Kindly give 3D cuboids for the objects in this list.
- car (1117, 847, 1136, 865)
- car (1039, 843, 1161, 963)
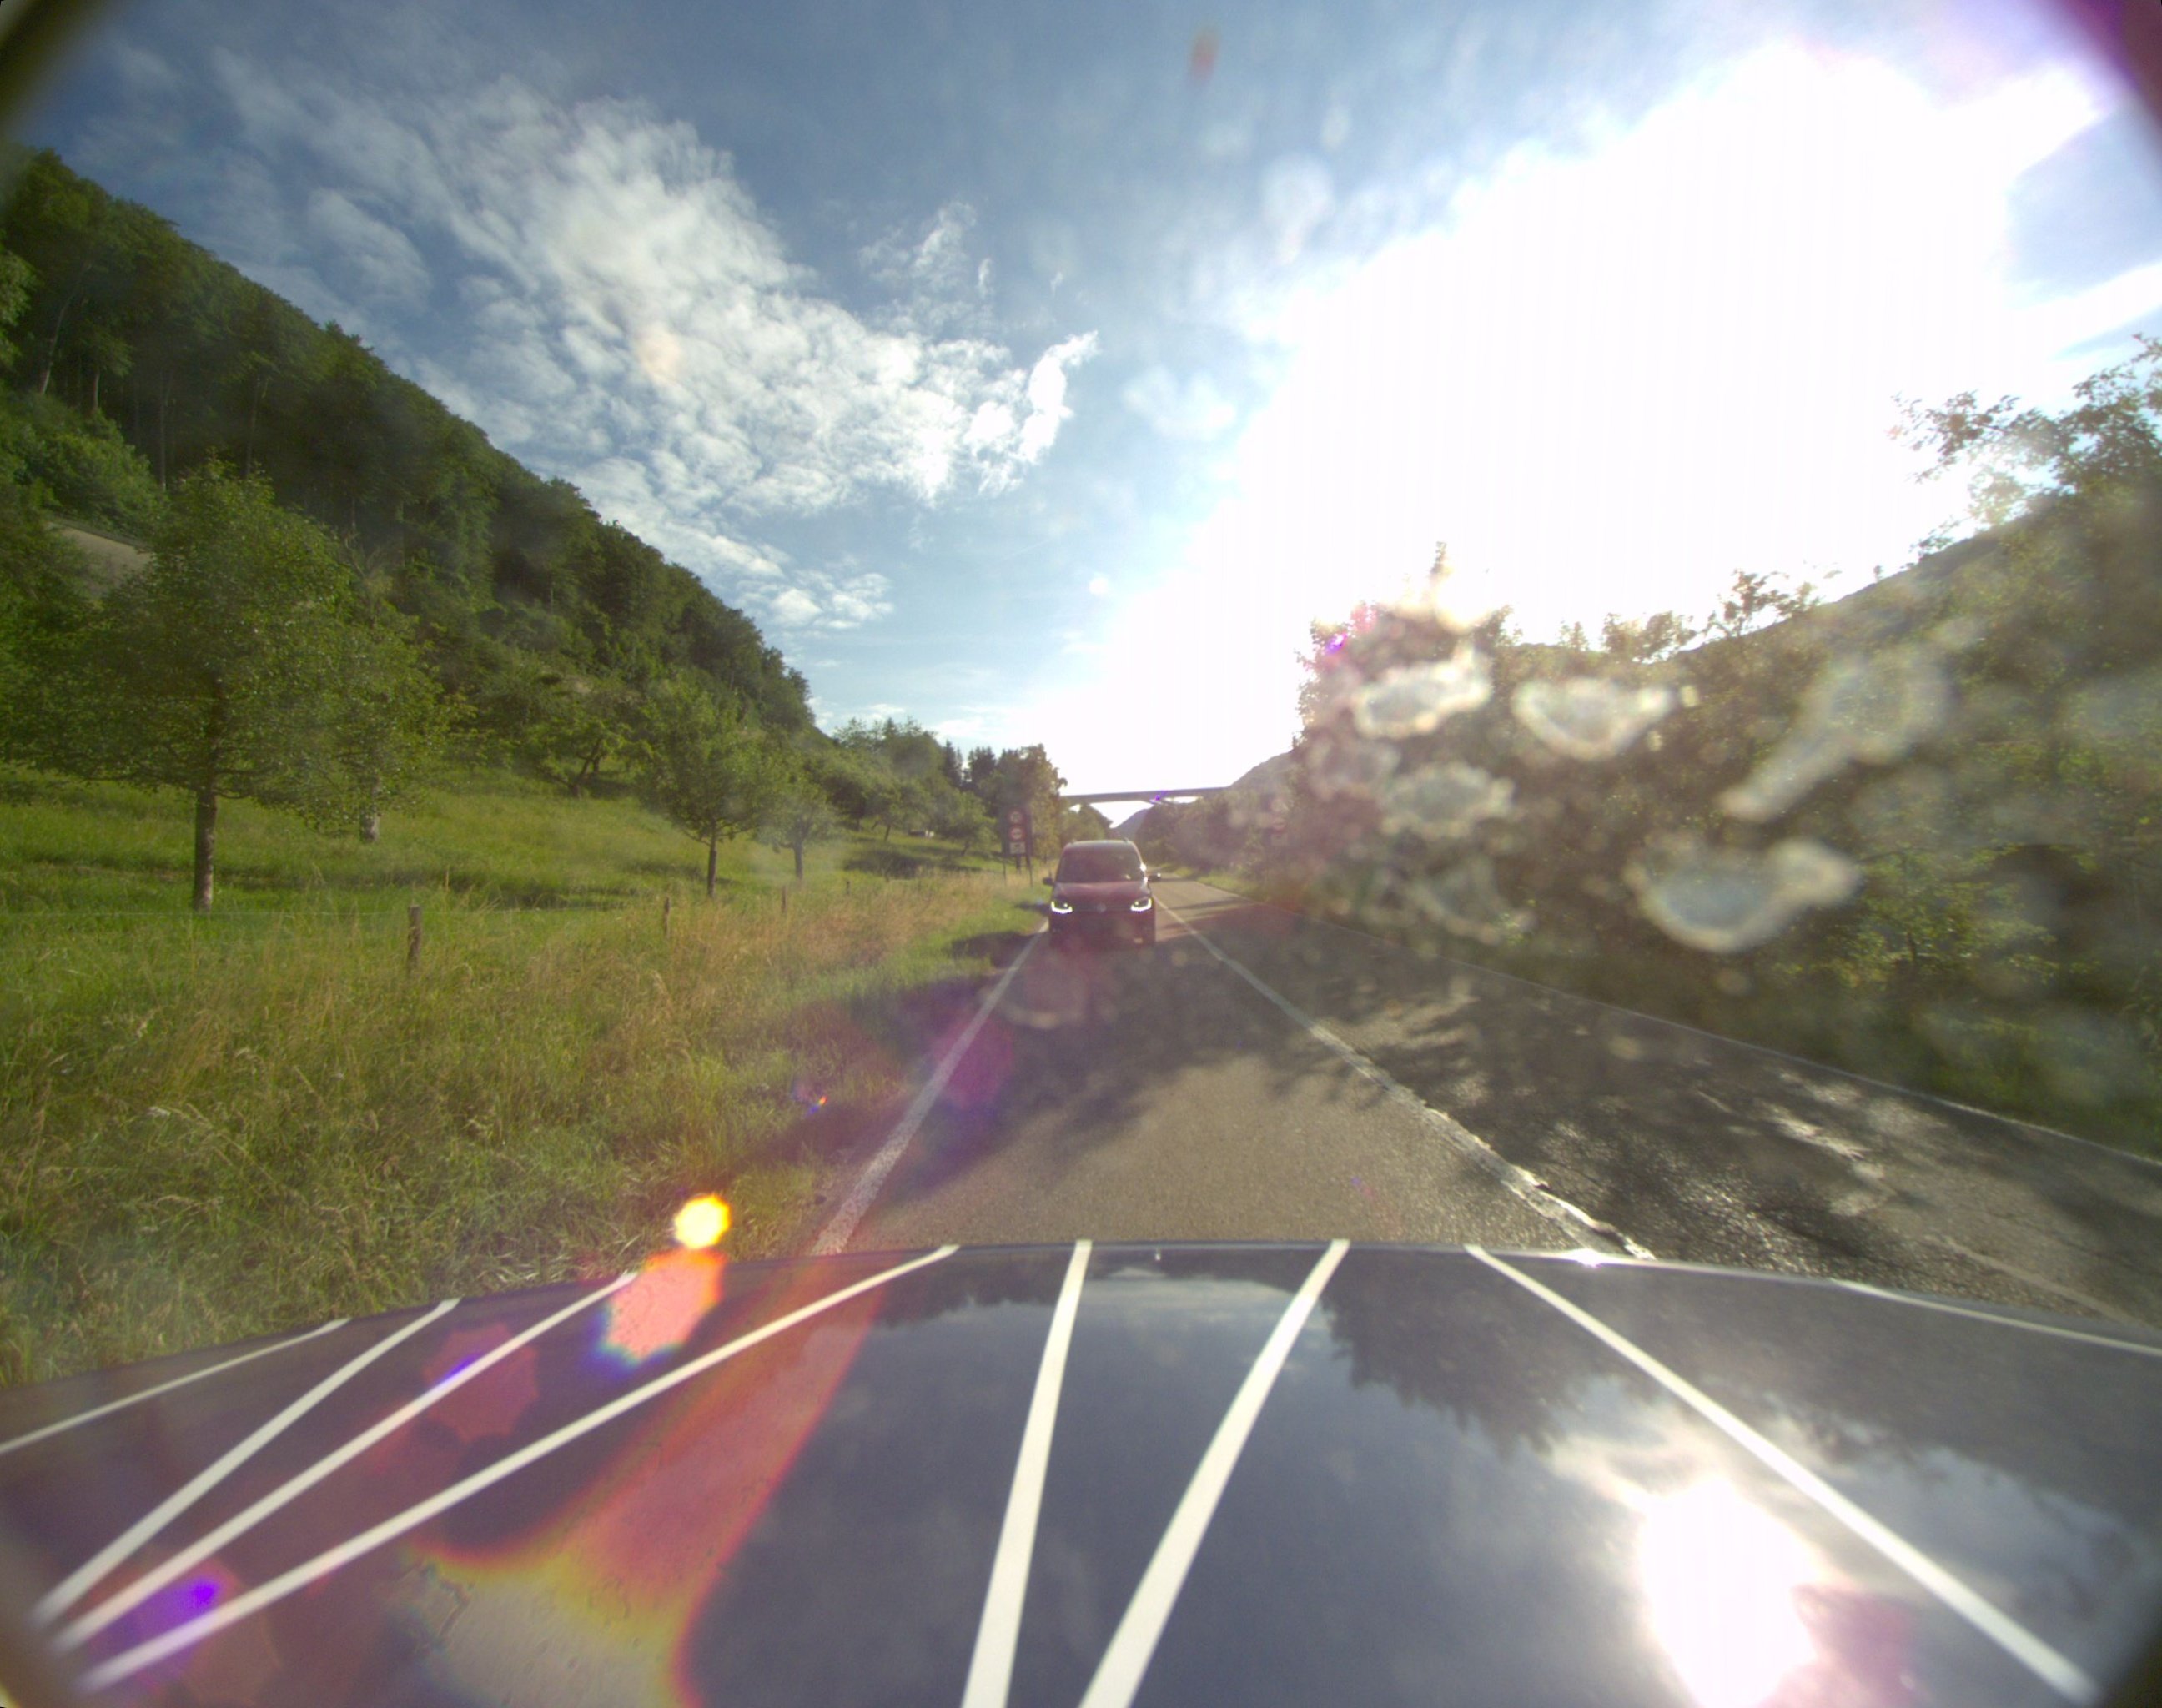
[{"bbox_3d":[4.691,0.227,78.506,1.759,1.745,4.000,-2,1,3],"label":"car"},{"bbox_3d":[0.346,0.711,13.608,1.759,1.745,4.429,-2,1,2],"label":"car"}]
